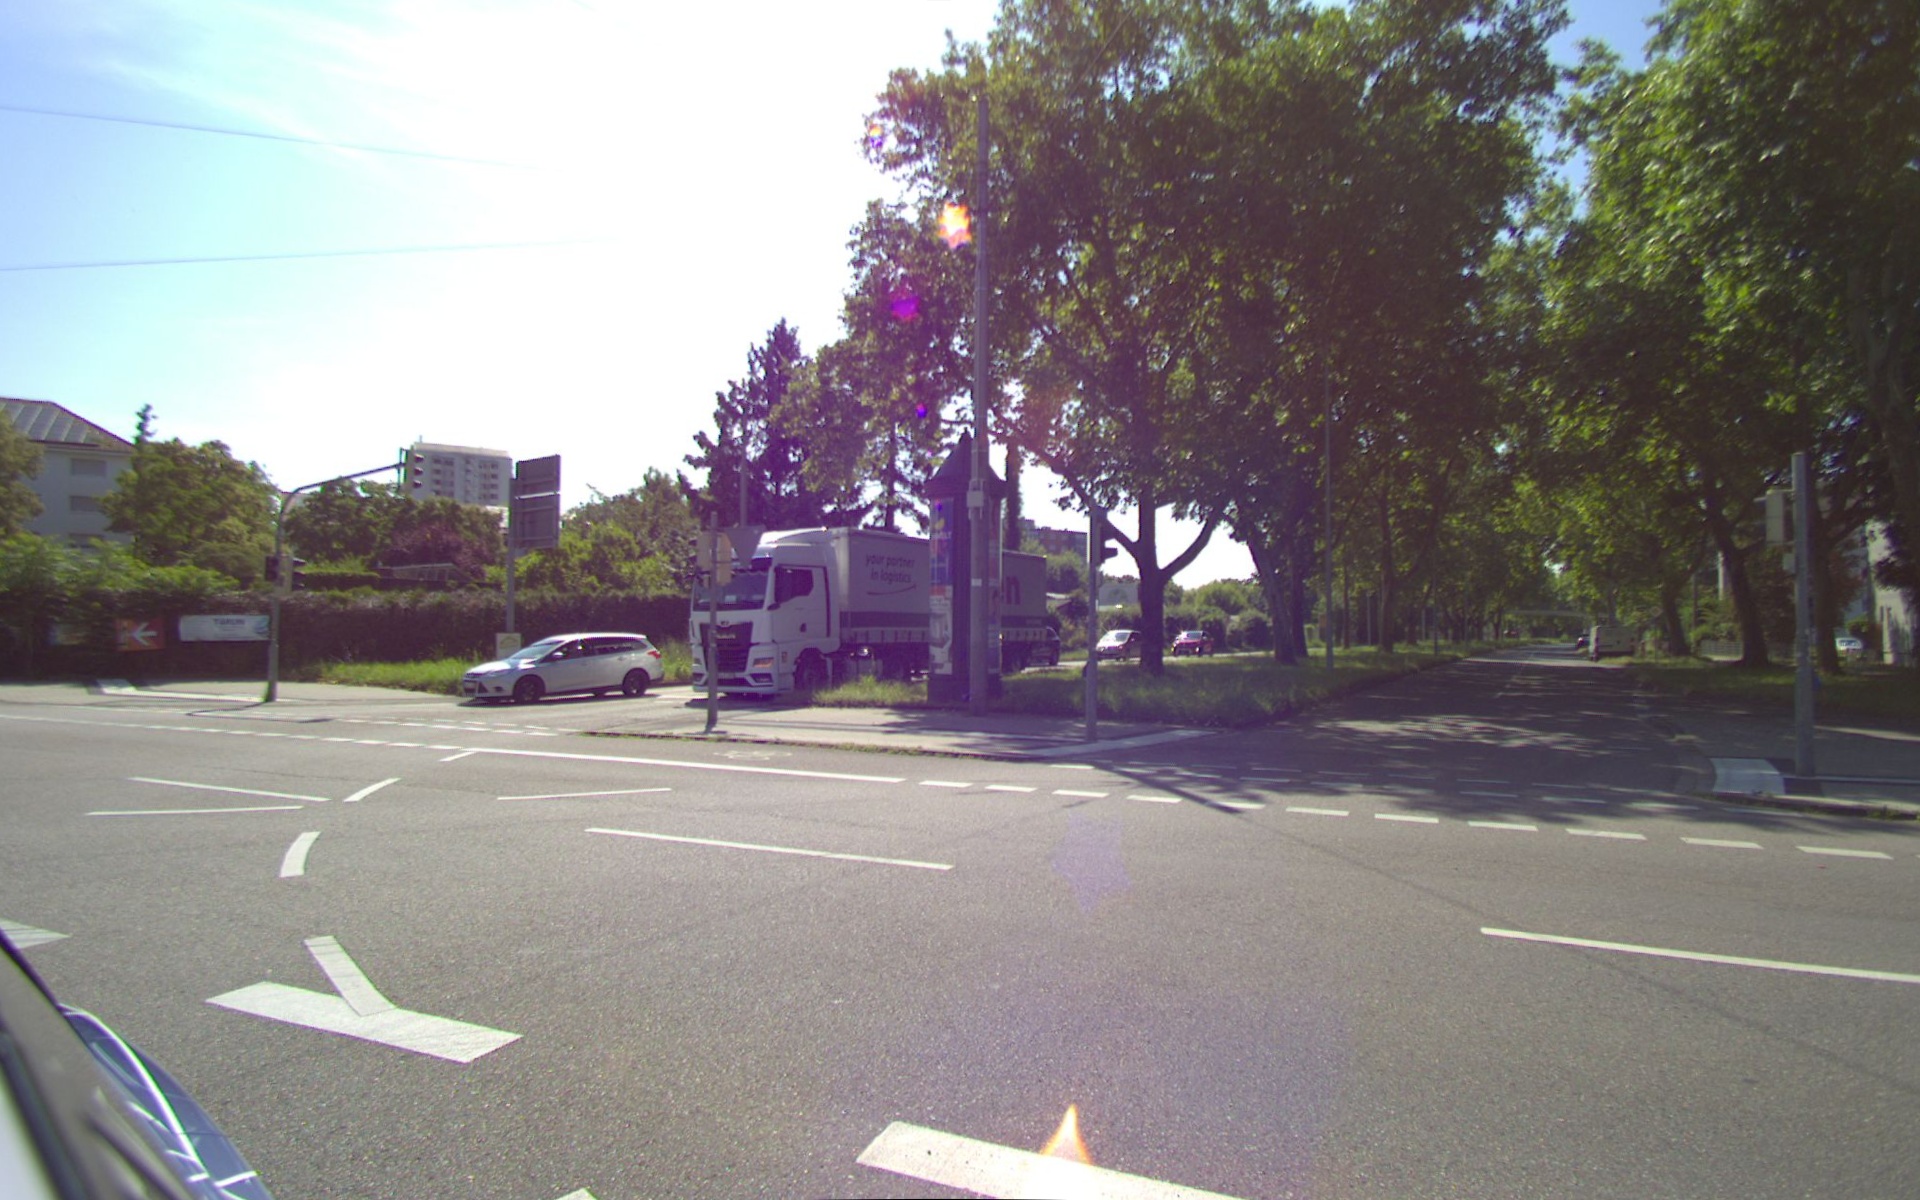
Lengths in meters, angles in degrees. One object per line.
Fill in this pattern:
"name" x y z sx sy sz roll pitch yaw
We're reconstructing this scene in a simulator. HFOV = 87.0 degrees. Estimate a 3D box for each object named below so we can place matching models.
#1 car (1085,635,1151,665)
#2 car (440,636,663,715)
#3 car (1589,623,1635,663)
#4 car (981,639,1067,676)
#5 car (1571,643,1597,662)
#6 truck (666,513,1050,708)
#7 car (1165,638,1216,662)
"car" 8.126 2.531 51.708 1.750 1.379 4.324 -3 -2 32
"car" -9.016 1.614 22.652 1.753 1.522 4.342 -3 -3 37
"car" 40.375 2.648 62.765 1.991 2.334 4.613 -1 -2 28
"car" 2.710 2.383 42.169 1.750 1.379 4.324 -3 -2 32
"car" 50.867 4.281 82.475 1.698 1.498 3.875 -1 -3 32
"truck" -1.766 0.495 27.880 2.843 4.038 14.157 -1 -3 30
"car" 14.344 3.075 62.760 1.750 1.379 4.324 -3 -2 32
